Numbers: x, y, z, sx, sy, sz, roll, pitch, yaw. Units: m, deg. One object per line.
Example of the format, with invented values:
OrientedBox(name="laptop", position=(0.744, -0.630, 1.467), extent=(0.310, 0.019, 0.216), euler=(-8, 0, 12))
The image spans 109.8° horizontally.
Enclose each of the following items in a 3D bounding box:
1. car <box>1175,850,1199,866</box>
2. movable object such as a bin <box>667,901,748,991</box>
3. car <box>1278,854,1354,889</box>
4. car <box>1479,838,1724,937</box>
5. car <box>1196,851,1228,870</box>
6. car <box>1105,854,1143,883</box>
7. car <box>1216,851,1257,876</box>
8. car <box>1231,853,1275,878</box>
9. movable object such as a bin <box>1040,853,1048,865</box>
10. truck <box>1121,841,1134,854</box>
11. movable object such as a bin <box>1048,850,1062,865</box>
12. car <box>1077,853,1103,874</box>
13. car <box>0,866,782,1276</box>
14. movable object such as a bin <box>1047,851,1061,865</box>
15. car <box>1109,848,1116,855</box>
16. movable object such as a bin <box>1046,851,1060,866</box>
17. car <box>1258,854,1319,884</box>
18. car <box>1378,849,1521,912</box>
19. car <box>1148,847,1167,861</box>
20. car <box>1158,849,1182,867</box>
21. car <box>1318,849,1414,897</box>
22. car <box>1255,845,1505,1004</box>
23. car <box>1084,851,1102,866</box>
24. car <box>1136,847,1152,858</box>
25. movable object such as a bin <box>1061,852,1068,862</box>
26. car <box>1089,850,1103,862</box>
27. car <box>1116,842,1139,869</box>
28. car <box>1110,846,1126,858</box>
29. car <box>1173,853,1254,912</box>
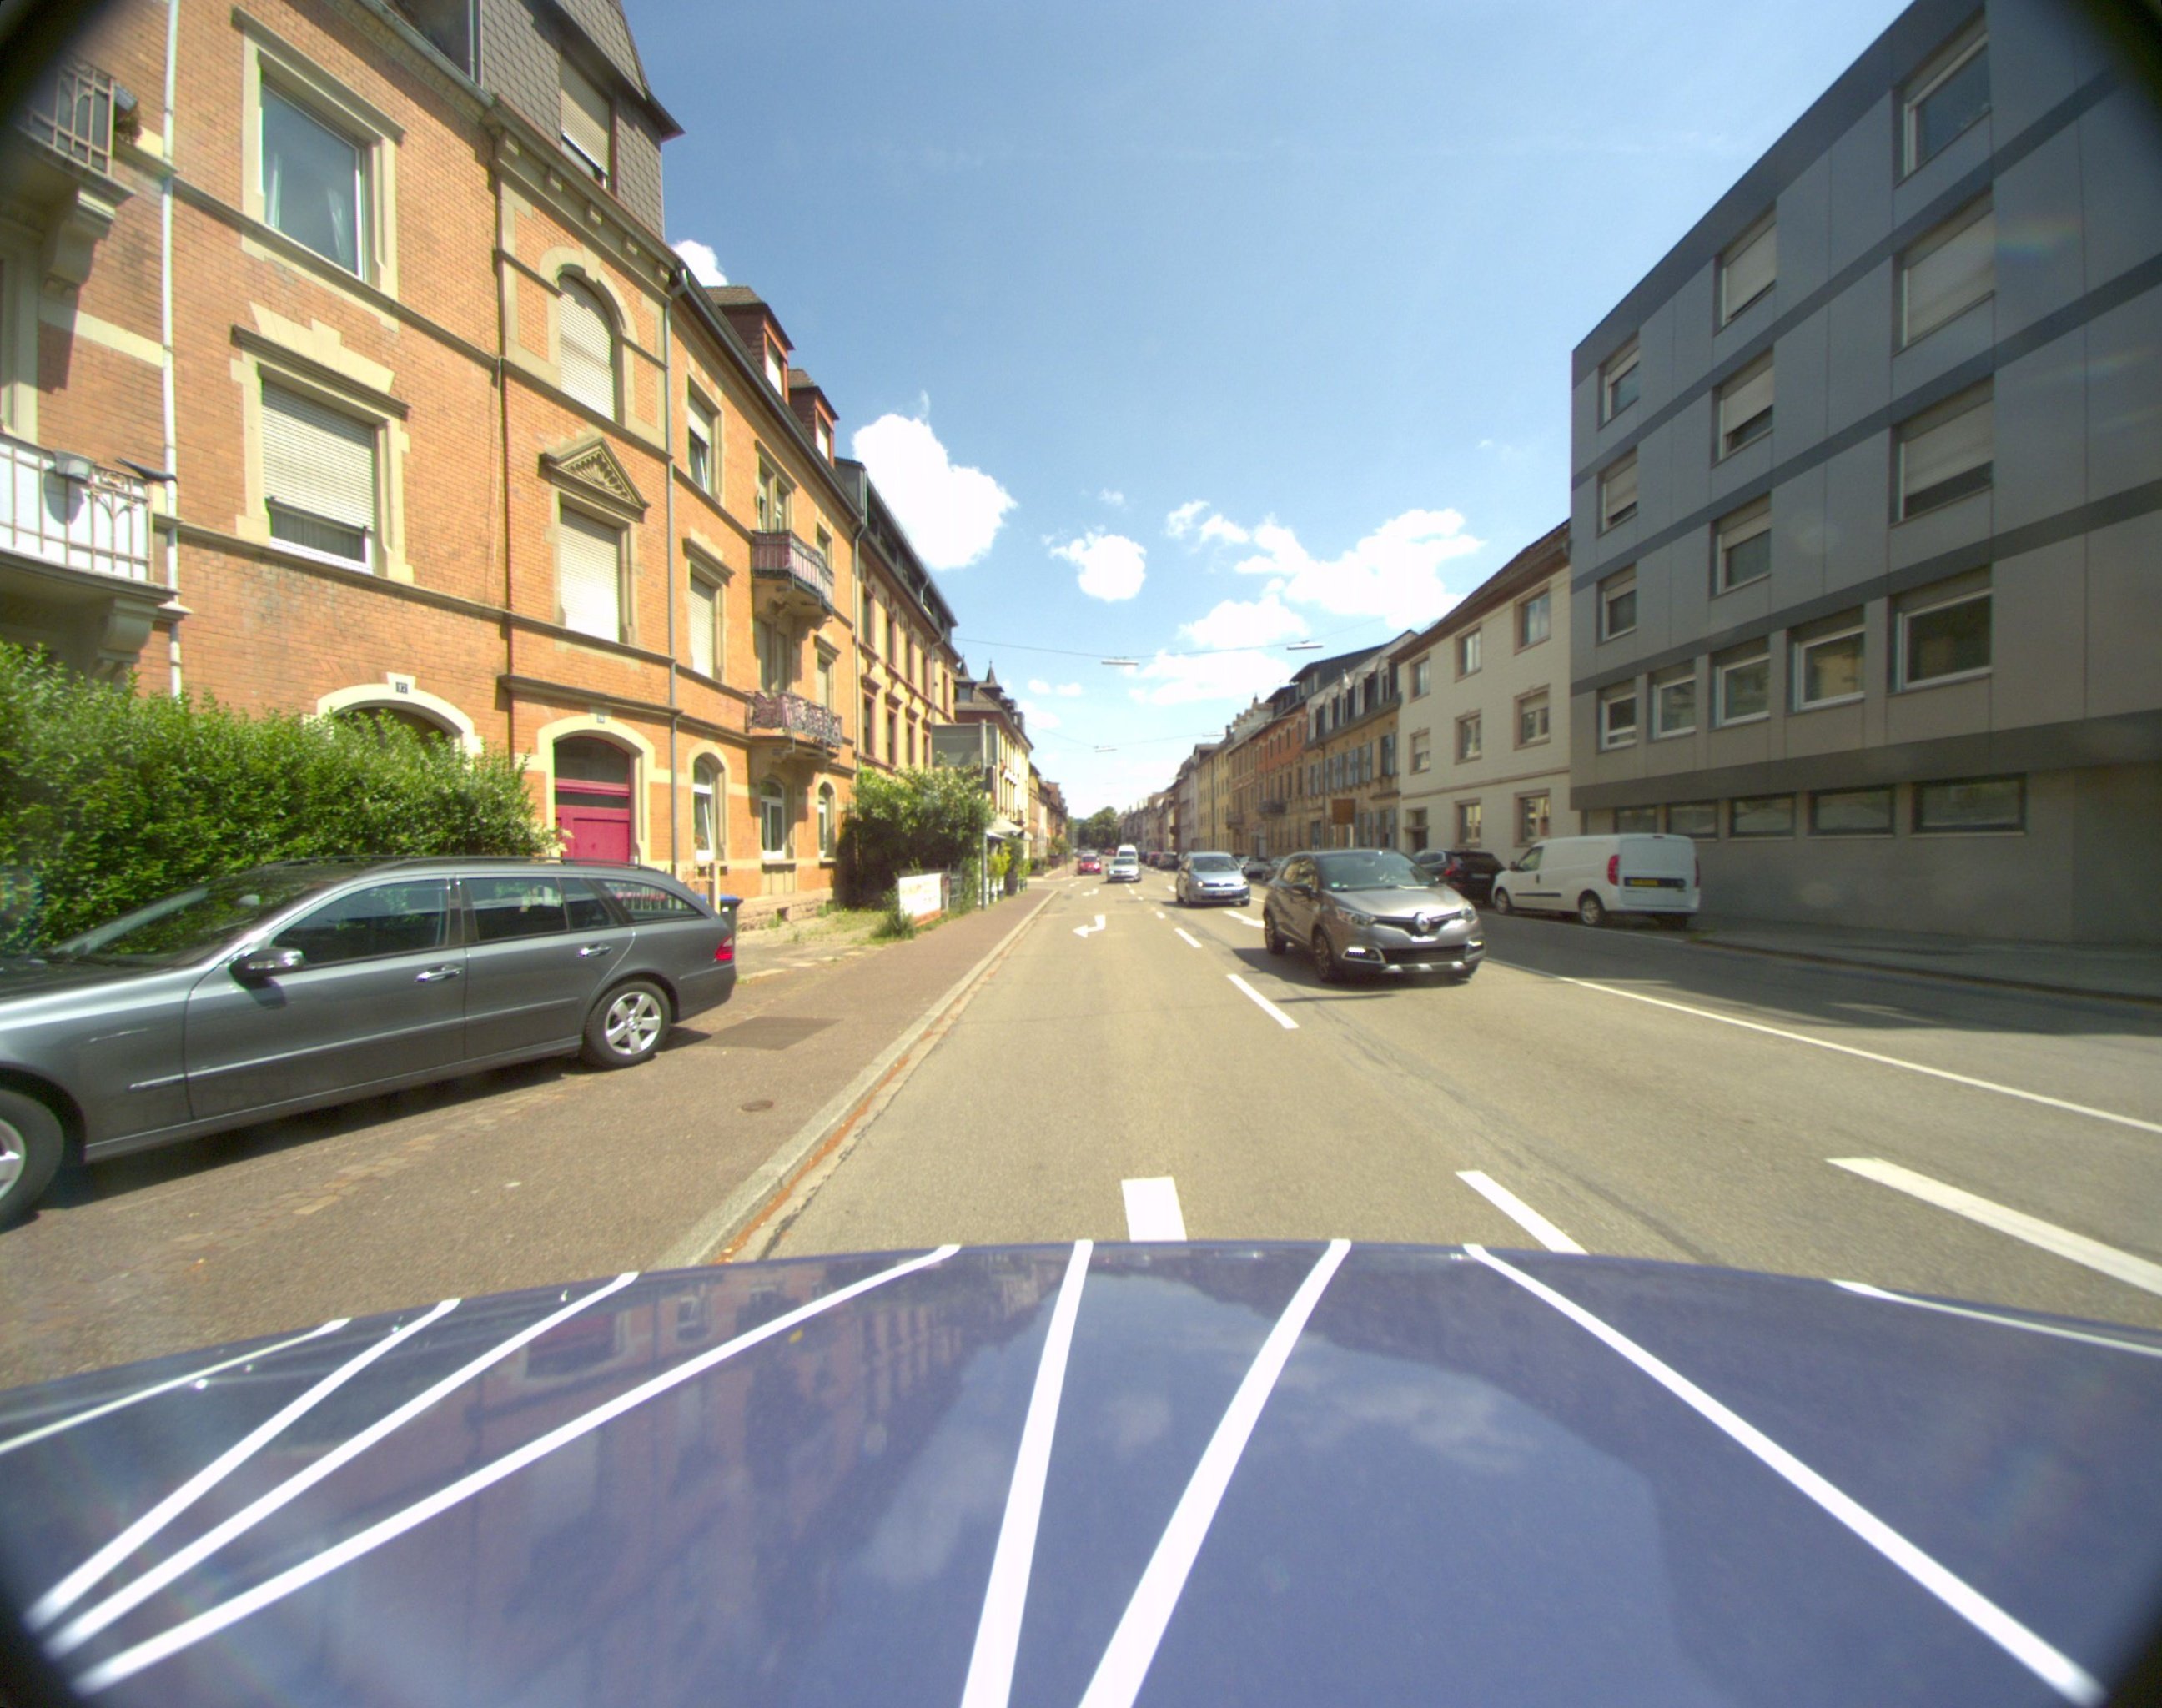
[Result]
OrientedBox(name="car", position=(11.396, 0.400, 81.990), extent=(1.869, 1.542, 4.313), euler=(3, 1, 1))
OrientedBox(name="movable object such as a bin", position=(-4.757, 1.150, 9.695), extent=(0.650, 1.065, 0.637), euler=(-1, 1, 11))
OrientedBox(name="car", position=(10.946, 0.752, 35.729), extent=(1.870, 1.398, 4.836), euler=(3, 1, -2))
OrientedBox(name="car", position=(10.800, 0.592, 16.334), extent=(1.918, 1.815, 4.787), euler=(0, 1, -1))
OrientedBox(name="car", position=(11.416, 0.547, 66.470), extent=(1.869, 1.542, 4.499), euler=(3, 1, -1))
OrientedBox(name="car", position=(2.469, 0.781, 42.777), extent=(1.904, 1.489, 4.488), euler=(-1, 1, 5))
OrientedBox(name="car", position=(11.109, 0.635, 54.479), extent=(1.869, 1.618, 4.499), euler=(3, 1, -1))
OrientedBox(name="car", position=(11.180, 0.722, 49.617), extent=(1.869, 1.418, 4.330), euler=(3, 1, 0))
OrientedBox(name="movable object such as a bin", position=(-3.737, 0.478, 76.375), extent=(0.723, 1.161, 0.747), euler=(0, 1, 0))
OrientedBox(name="truck", position=(10.214, -1.500, 166.999), extent=(2.323, 2.725, 8.067), euler=(0, 1, 0))
OrientedBox(name="movable object such as a bin", position=(-2.572, 0.345, 75.031), extent=(1.285, 1.402, 1.305), euler=(0, 1, 2))
OrientedBox(name="car", position=(0.695, 0.683, 59.277), extent=(1.762, 1.470, 3.782), euler=(-3, 1, -2))
OrientedBox(name="car", position=(-4.411, 0.847, 4.587), extent=(1.836, 1.539, 5.165), euler=(0, -1, 21))
OrientedBox(name="movable object such as a bin", position=(-2.630, 0.383, 73.663), extent=(1.285, 1.388, 1.364), euler=(0, 1, 2))
OrientedBox(name="car", position=(7.822, -0.637, 188.334), extent=(1.708, 1.470, 3.930), euler=(-3, 1, 0))
OrientedBox(name="movable object such as a bin", position=(-2.641, 0.420, 72.247), extent=(1.285, 1.388, 1.413), euler=(0, 1, 2))
OrientedBox(name="car", position=(11.109, 0.754, 41.033), extent=(1.870, 1.398, 4.329), euler=(3, 1, -3))
OrientedBox(name="car", position=(10.646, 0.695, 22.411), extent=(1.890, 1.631, 4.662), euler=(0, 1, -1))
OrientedBox(name="car", position=(8.127, -0.019, 80.658), extent=(1.706, 1.469, 4.133), euler=(0, 0, 1))
OrientedBox(name="car", position=(8.078, 0.351, 69.232), extent=(1.706, 1.565, 4.312), euler=(0, 0, 1))
OrientedBox(name="car", position=(10.587, 0.644, 28.664), extent=(1.889, 1.631, 4.817), euler=(1, 1, 1))
OrientedBox(name="car", position=(3.590, 0.738, 9.972), extent=(1.758, 1.622, 4.000), euler=(-2, 0, 2))
OrientedBox(name="car", position=(1.268, 0.448, 80.442), extent=(1.762, 1.470, 4.418), euler=(-3, 1, 0))
OrientedBox(name="car", position=(8.533, -0.206, 103.498), extent=(1.764, 1.486, 4.245), euler=(0, 0, 0))
OrientedBox(name="movable object such as a bin", position=(-1.919, 0.355, 89.499), extent=(0.753, 1.235, 0.877), euler=(0, 1, 0))
OrientedBox(name="car", position=(1.977, 0.241, 98.644), extent=(1.708, 1.470, 3.930), euler=(-3, 1, 0))
OrientedBox(name="car", position=(4.121, 0.086, 68.175), extent=(1.904, 2.261, 5.672), euler=(-1, 1, 2))
OrientedBox(name="car", position=(4.561, -0.290, 95.046), extent=(1.904, 1.489, 4.487), euler=(-1, 1, 2))
OrientedBox(name="car", position=(3.853, 0.765, 22.695), extent=(1.758, 1.559, 4.000), euler=(-1, 0, 1))
